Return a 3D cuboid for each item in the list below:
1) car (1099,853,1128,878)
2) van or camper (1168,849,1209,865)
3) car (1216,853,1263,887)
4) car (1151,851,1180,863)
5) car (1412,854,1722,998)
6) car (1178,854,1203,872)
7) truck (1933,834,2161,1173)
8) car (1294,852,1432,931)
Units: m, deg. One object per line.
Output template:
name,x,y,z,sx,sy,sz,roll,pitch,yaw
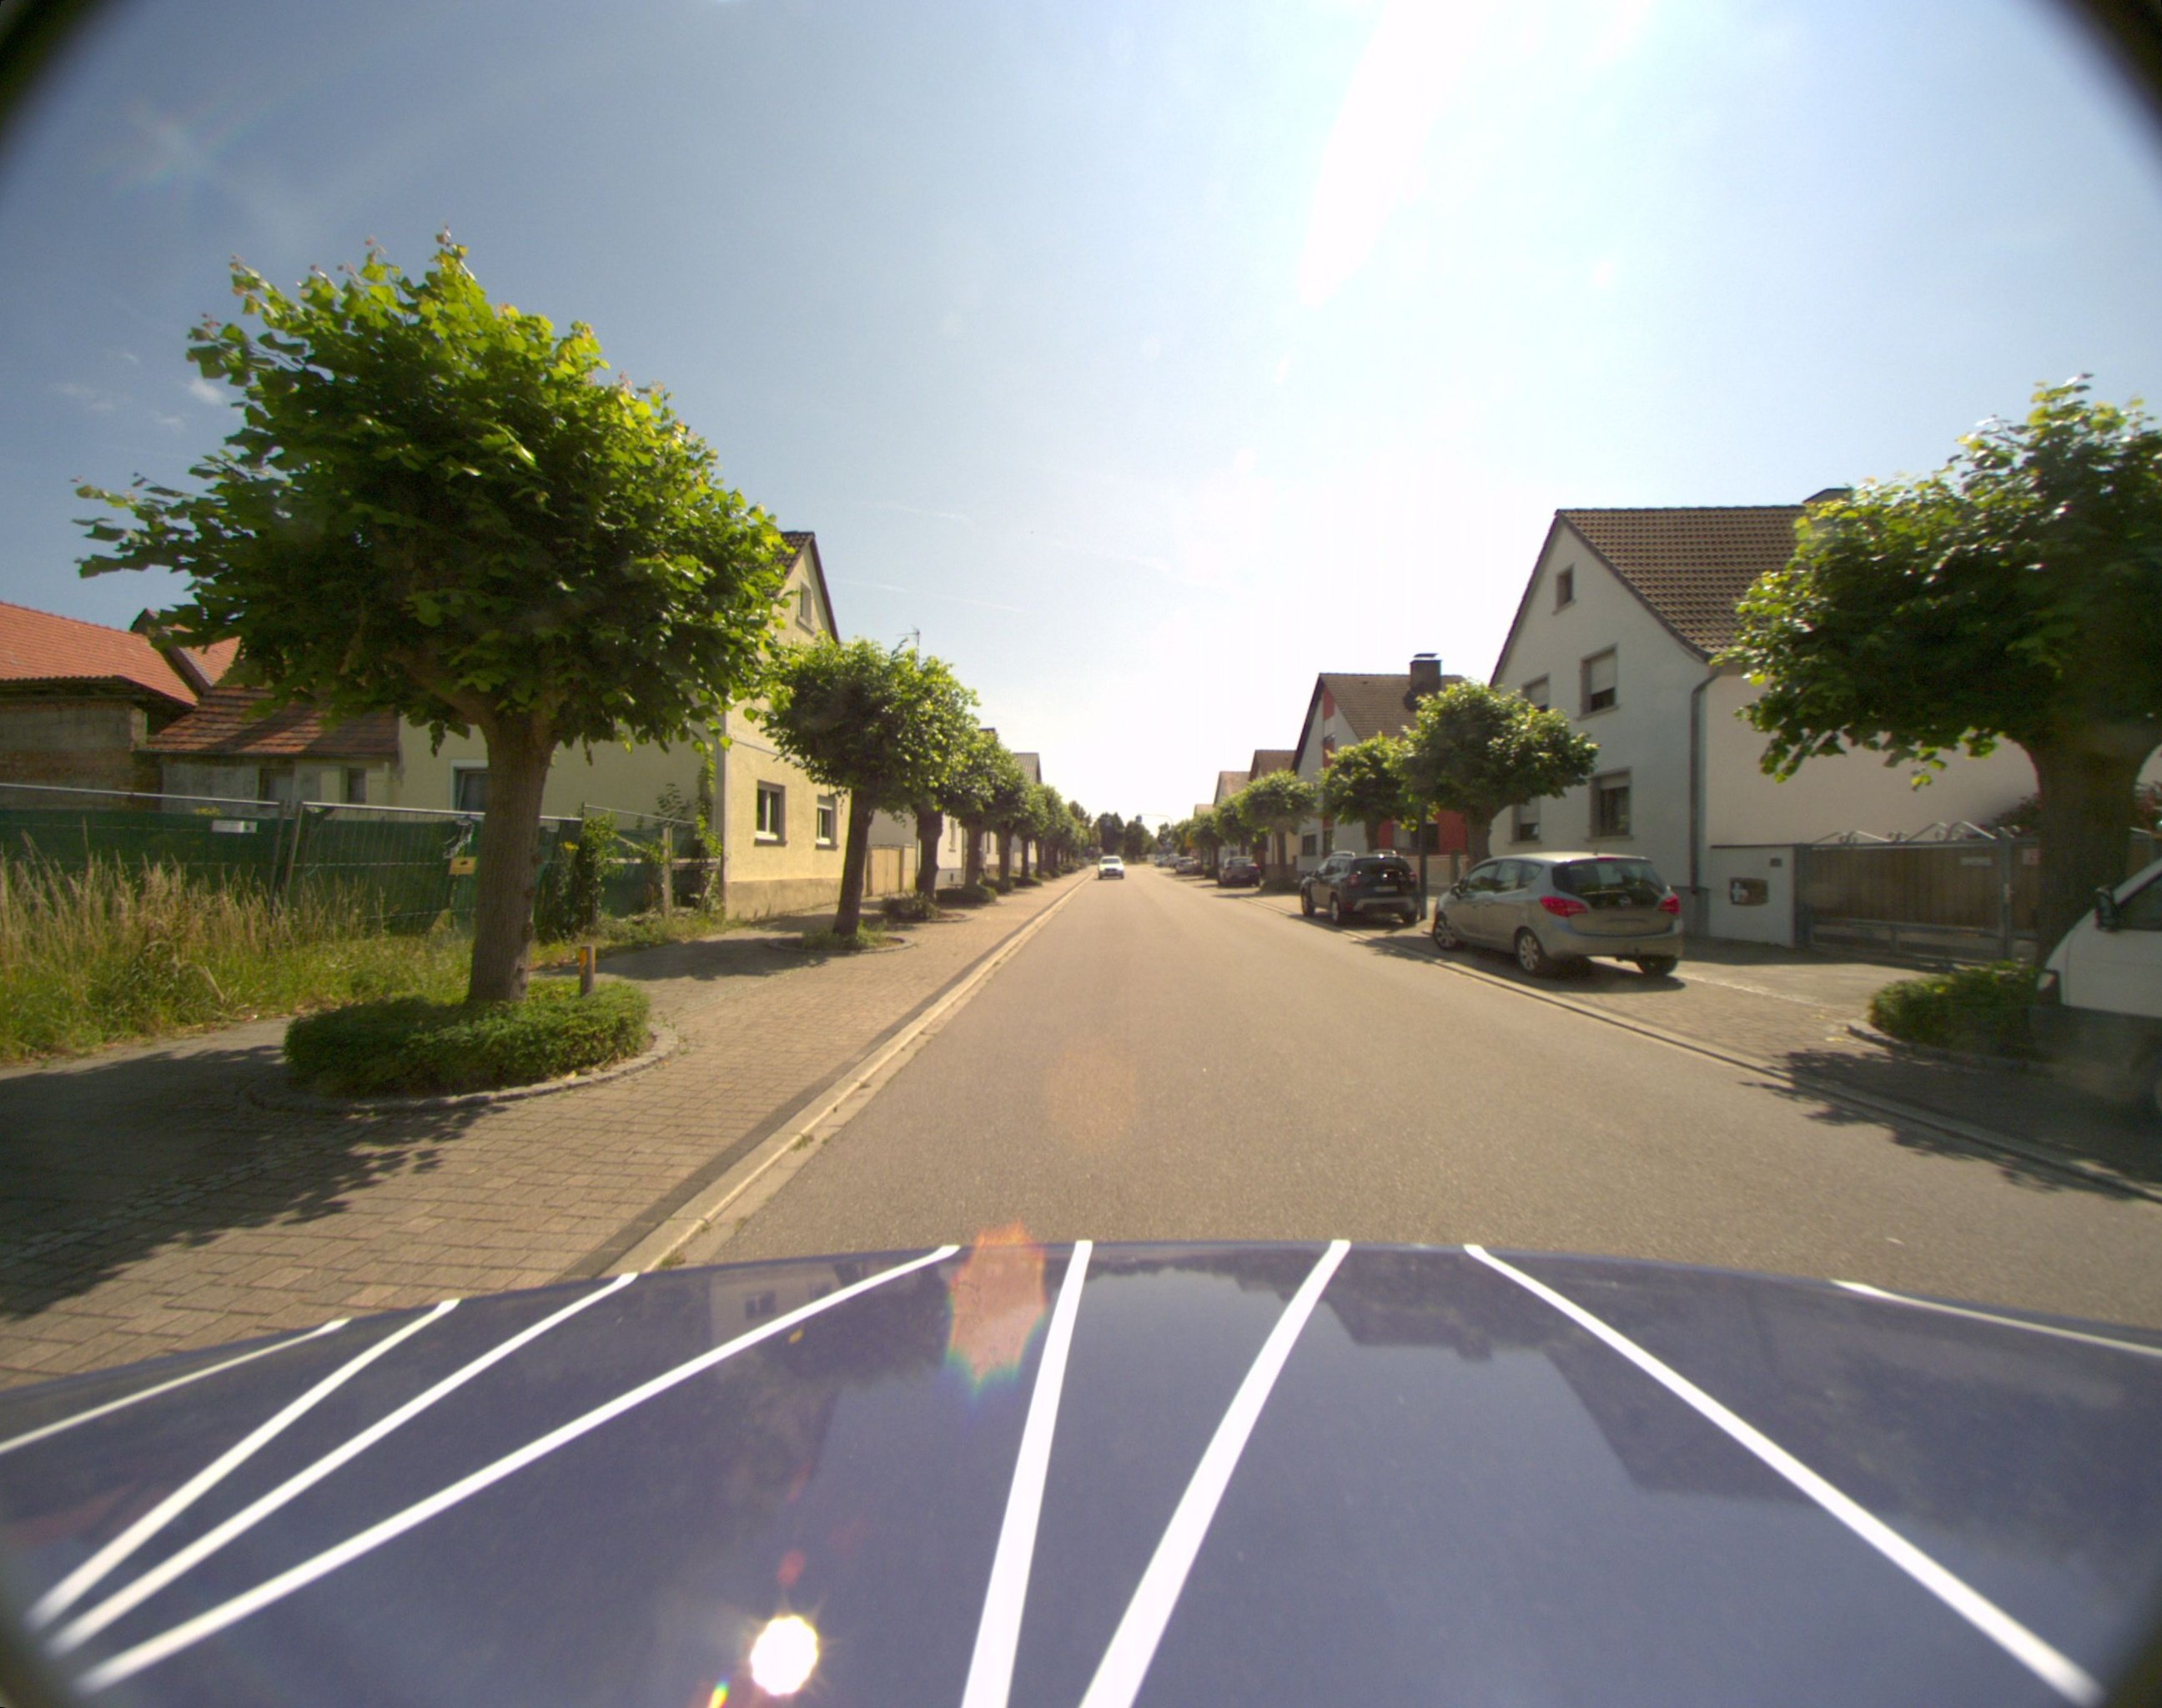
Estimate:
car,2.347,0.784,53.978,1.857,1.603,4.136,-2,0,4
van or camper,13.423,0.403,95.079,4.751,1.851,2.000,-2,0,2
car,8.127,0.788,39.267,1.857,1.603,4.136,-2,0,4
car,13.287,0.399,119.374,4.251,1.709,1.945,-2,0,-3
car,6.669,0.849,11.131,1.857,1.603,4.371,-2,0,2
car,9.663,0.746,67.230,1.829,1.474,4.133,-2,0,3
truck,6.397,0.776,2.938,1.580,1.755,4.192,-2,0,2
car,6.670,0.842,18.515,1.857,1.626,4.300,-2,-1,2
